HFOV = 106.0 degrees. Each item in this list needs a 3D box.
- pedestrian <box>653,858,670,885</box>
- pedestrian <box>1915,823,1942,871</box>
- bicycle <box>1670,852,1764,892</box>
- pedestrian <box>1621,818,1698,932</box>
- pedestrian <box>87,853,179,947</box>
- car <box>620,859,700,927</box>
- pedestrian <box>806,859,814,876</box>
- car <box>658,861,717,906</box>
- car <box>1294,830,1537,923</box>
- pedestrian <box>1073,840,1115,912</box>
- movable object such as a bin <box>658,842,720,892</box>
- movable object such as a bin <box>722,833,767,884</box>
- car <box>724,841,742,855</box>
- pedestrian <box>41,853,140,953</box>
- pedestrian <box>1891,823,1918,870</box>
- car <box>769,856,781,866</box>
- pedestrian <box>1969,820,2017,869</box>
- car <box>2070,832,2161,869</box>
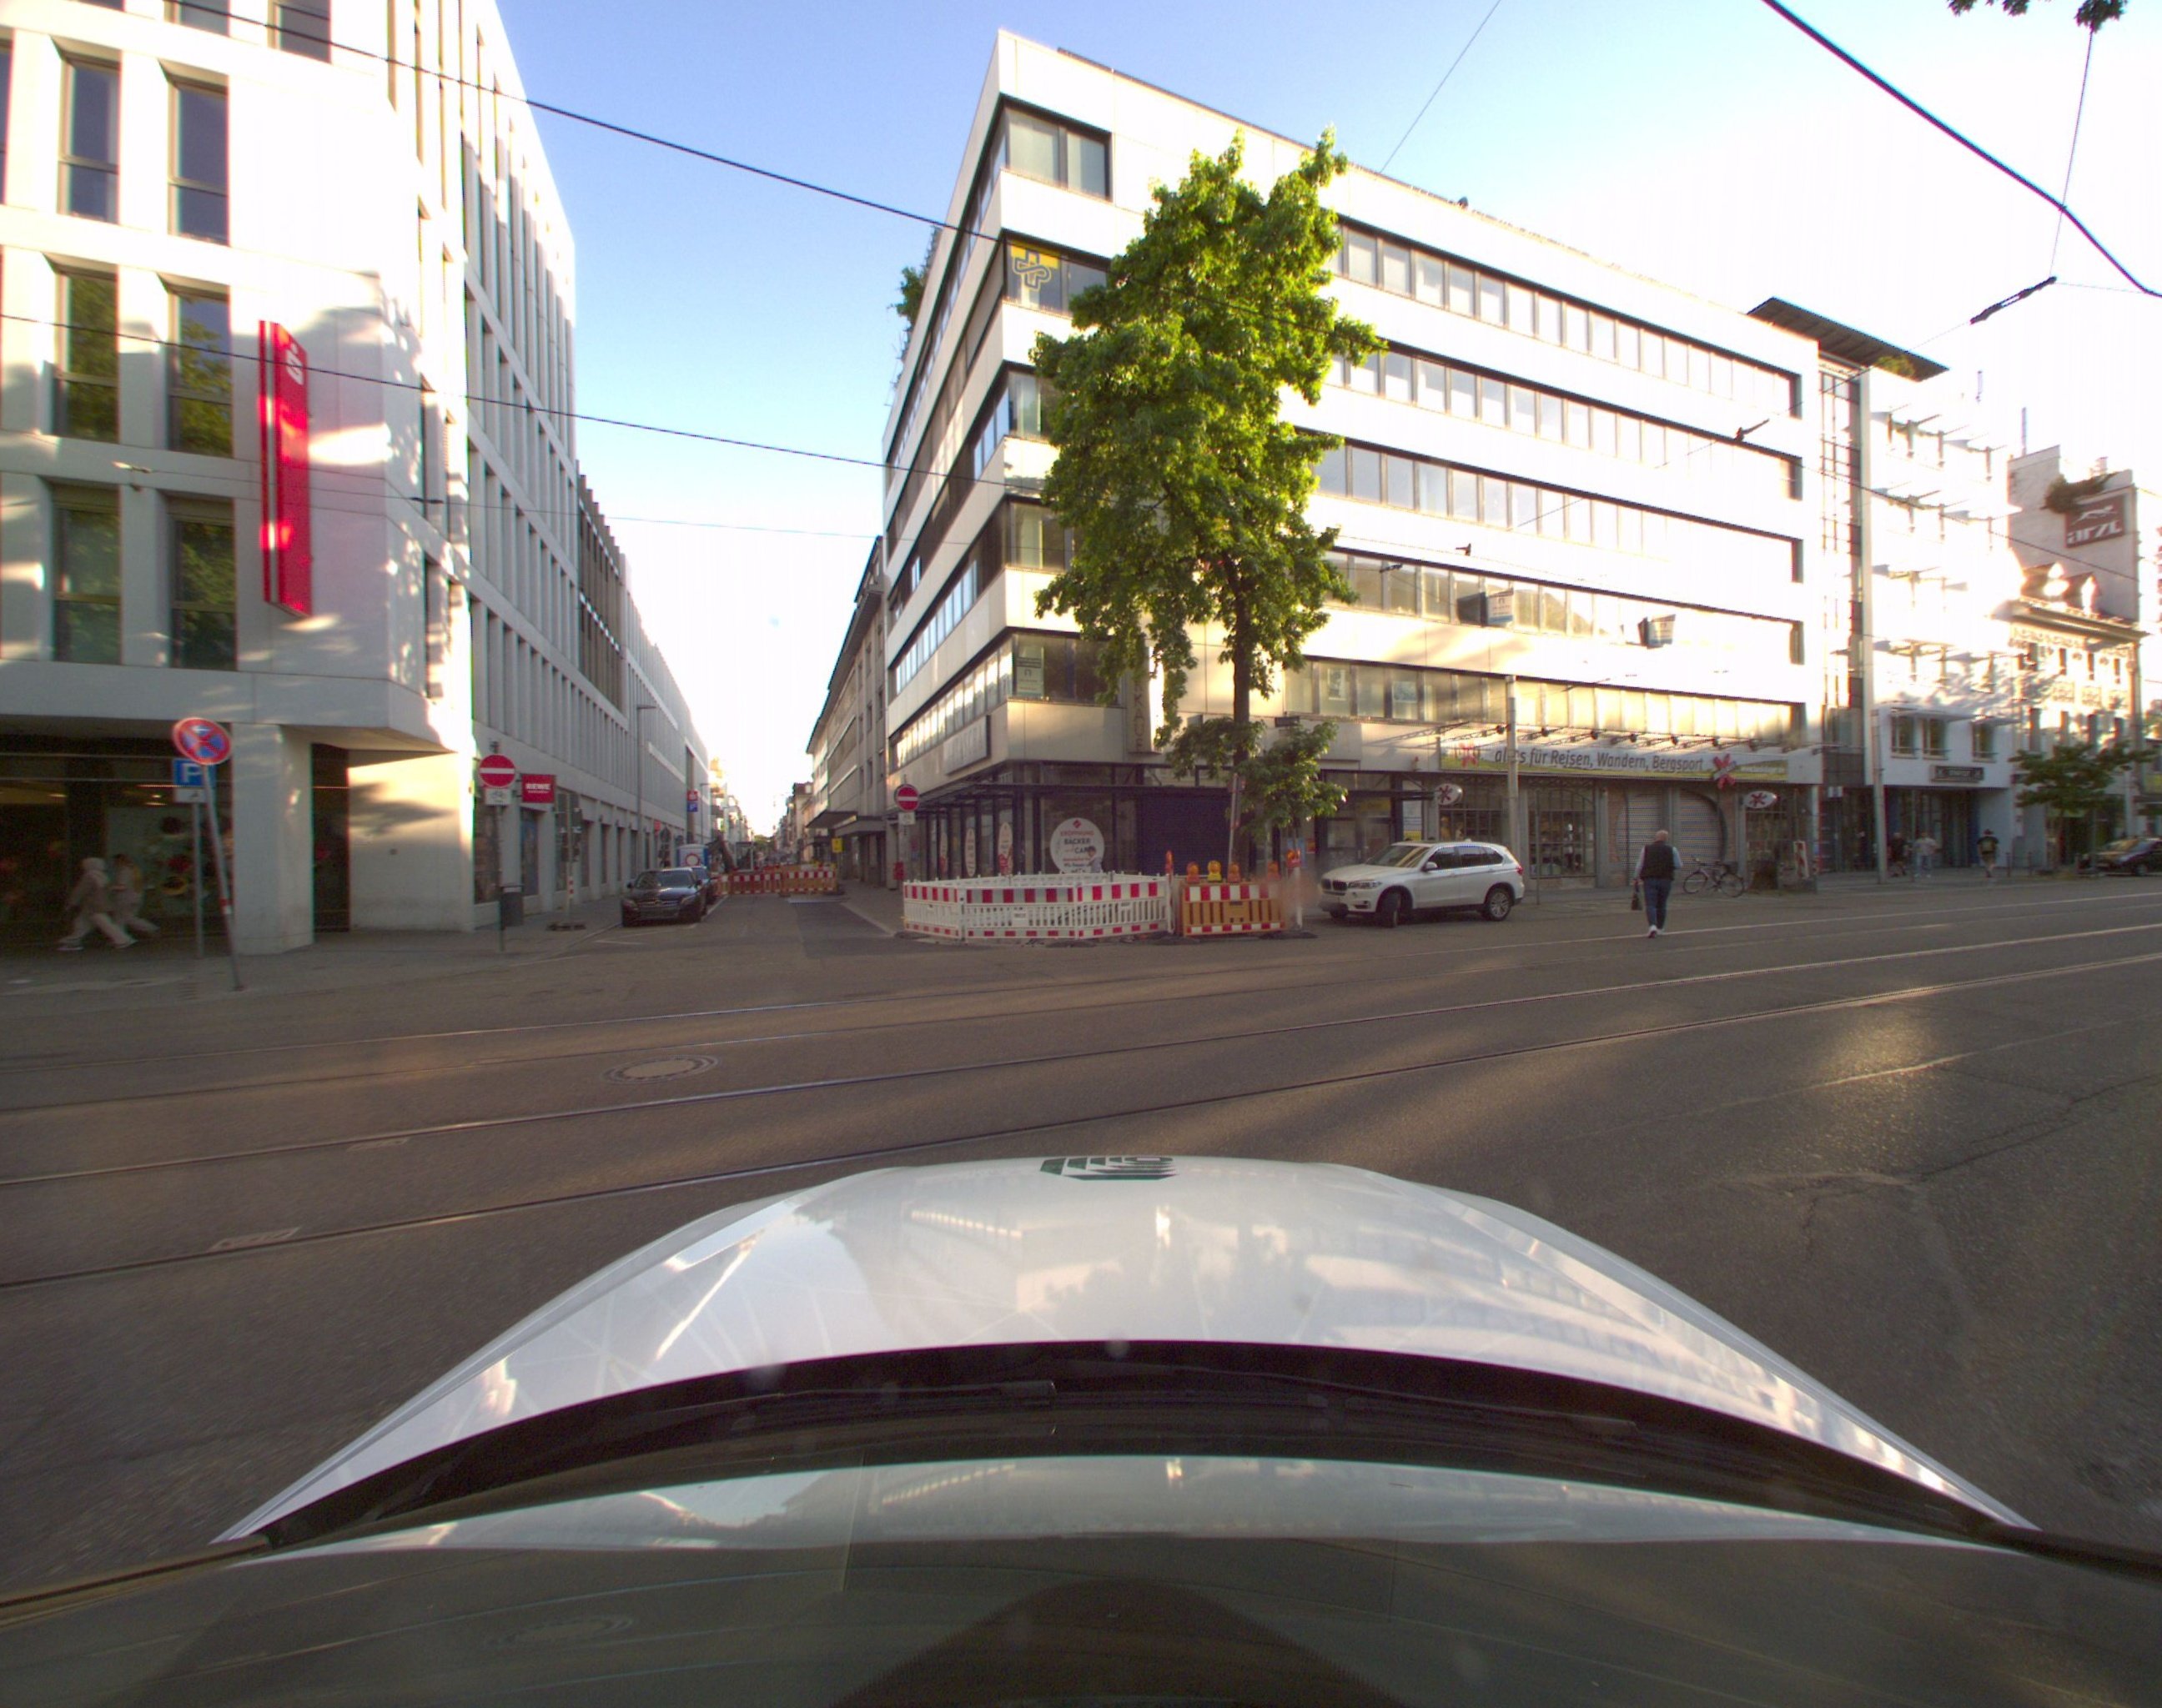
[{"bbox_3d":[-23.481,0.960,45.560,0.718,1.464,0.522,-2,0,-19],"label":"pedestrian"},{"bbox_3d":[32.078,-0.283,30.817,0.820,1.776,0.621,-3,1,-39],"label":"pedestrian"},{"bbox_3d":[18.039,0.490,23.157,0.670,0.952,2.012,-2,3,-23],"label":"bicycle"},{"bbox_3d":[9.504,0.328,13.423,0.795,1.776,1.079,-2,1,24],"label":"pedestrian"},{"bbox_3d":[-17.016,0.805,14.635,0.874,1.627,0.607,-1,0,-23],"label":"pedestrian"},{"bbox_3d":[-10.898,0.936,21.268,1.637,1.550,3.117,-2,1,-24],"label":"car"},{"bbox_3d":[-23.870,1.153,71.772,0.524,1.464,0.715,-1,0,-13],"label":"pedestrian"},{"bbox_3d":[-14.353,1.033,29.829,1.798,1.451,3.117,-2,1,-24],"label":"car"},{"bbox_3d":[7.357,0.393,17.924,4.949,1.775,2.008,-1,2,-22],"label":"car"},{"bbox_3d":[0.291,0.476,18.135,0.708,1.549,0.574,-2,1,-24],"label":"pedestrian"},{"bbox_3d":[-17.031,0.529,35.546,2.001,2.013,3.972,-2,1,-21],"label":"movable object such as a bin"},{"bbox_3d":[-18.649,0.227,45.274,2.165,2.663,4.540,-1,0,-21],"label":"movable object such as a bin"},{"bbox_3d":[-46.397,-0.765,108.730,2.001,1.776,3.972,-2,1,-21],"label":"car"},{"bbox_3d":[-16.945,0.814,13.949,0.874,1.627,0.607,-1,0,-23],"label":"pedestrian"},{"bbox_3d":[31.776,-0.280,31.419,0.820,1.776,0.621,-3,1,-39],"label":"pedestrian"},{"bbox_3d":[-57.155,1.306,151.957,2.001,1.776,3.972,-2,1,-21],"label":"car"},{"bbox_3d":[34.379,-0.365,30.719,0.969,1.776,0.803,-2,1,-10],"label":"pedestrian"},{"bbox_3d":[41.423,-0.170,31.910,3.645,1.386,1.725,0,2,-7],"label":"car"}]
